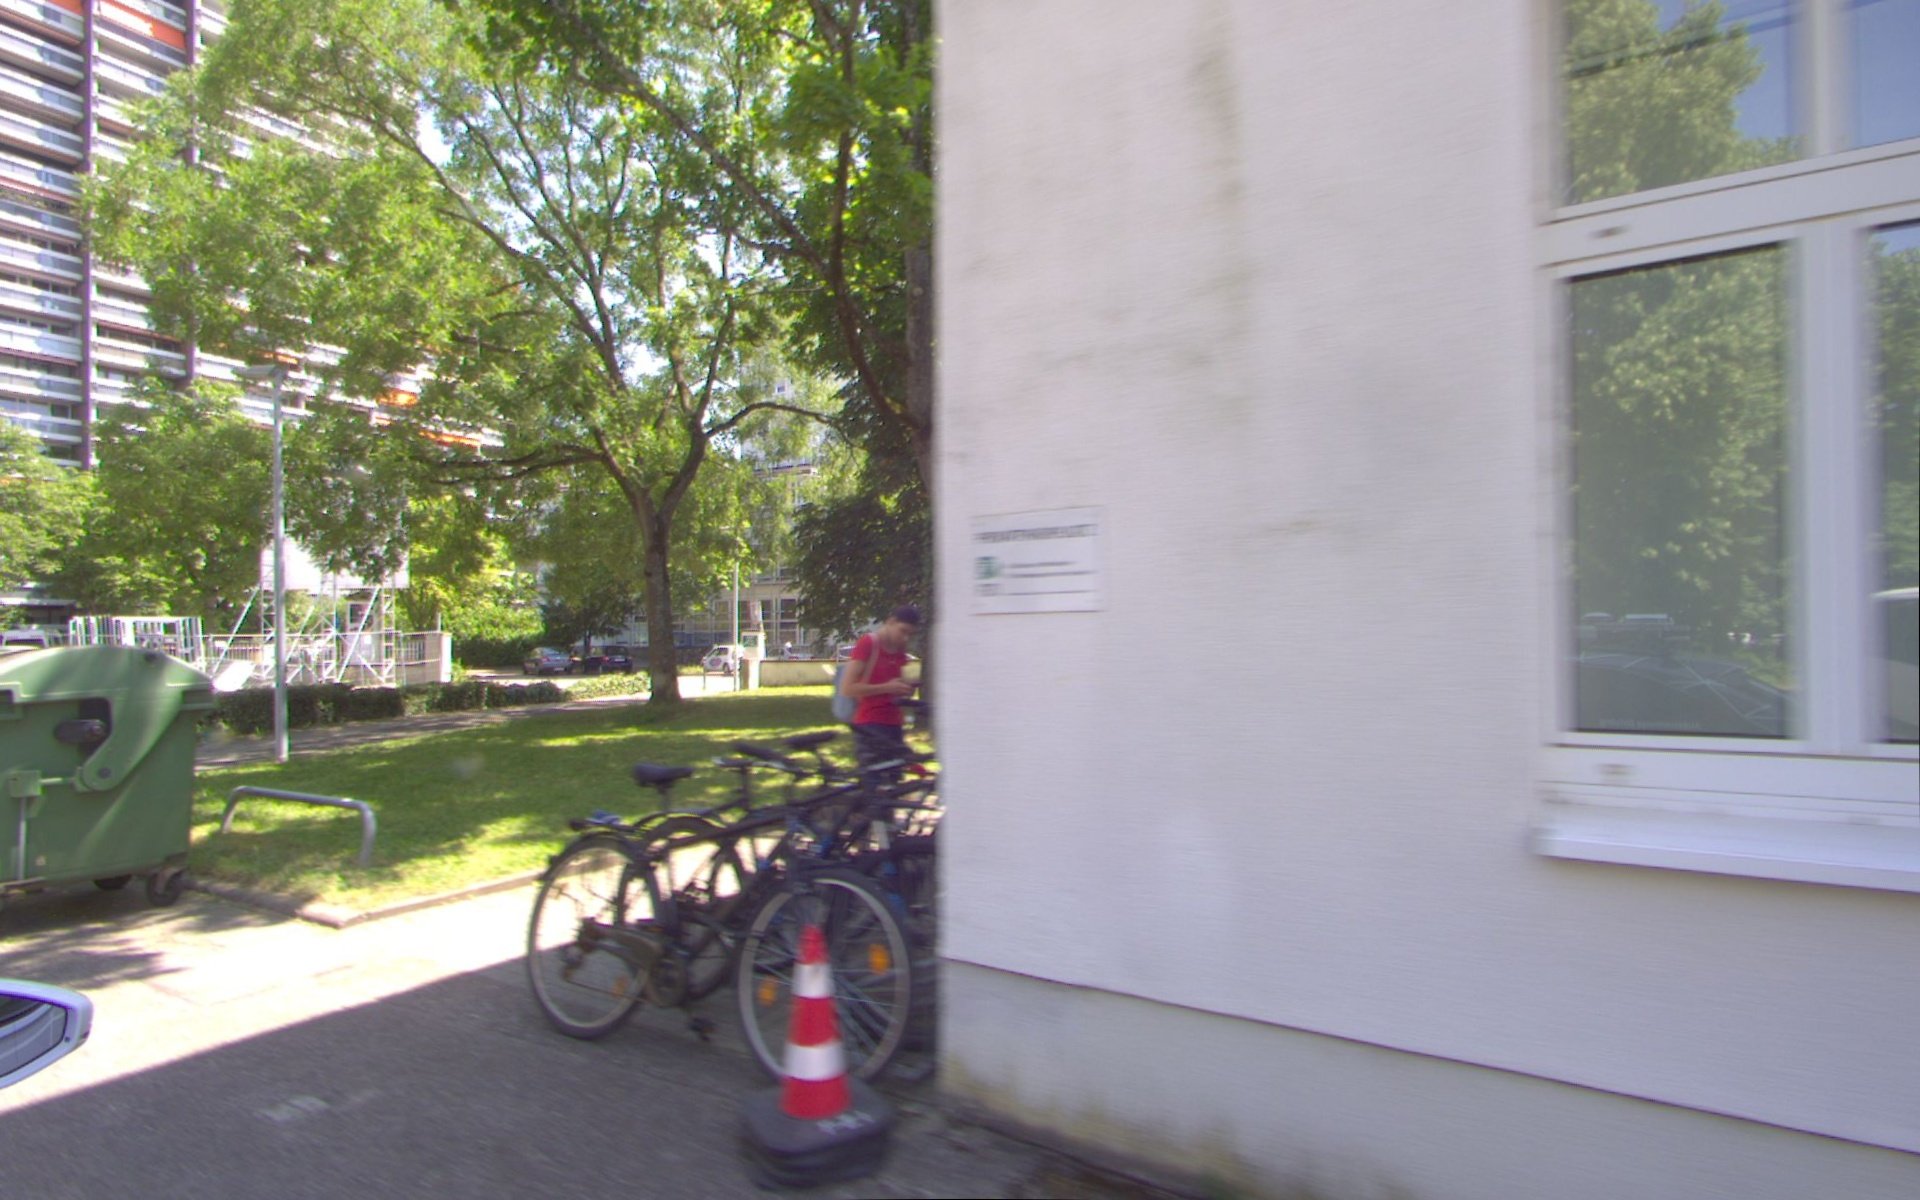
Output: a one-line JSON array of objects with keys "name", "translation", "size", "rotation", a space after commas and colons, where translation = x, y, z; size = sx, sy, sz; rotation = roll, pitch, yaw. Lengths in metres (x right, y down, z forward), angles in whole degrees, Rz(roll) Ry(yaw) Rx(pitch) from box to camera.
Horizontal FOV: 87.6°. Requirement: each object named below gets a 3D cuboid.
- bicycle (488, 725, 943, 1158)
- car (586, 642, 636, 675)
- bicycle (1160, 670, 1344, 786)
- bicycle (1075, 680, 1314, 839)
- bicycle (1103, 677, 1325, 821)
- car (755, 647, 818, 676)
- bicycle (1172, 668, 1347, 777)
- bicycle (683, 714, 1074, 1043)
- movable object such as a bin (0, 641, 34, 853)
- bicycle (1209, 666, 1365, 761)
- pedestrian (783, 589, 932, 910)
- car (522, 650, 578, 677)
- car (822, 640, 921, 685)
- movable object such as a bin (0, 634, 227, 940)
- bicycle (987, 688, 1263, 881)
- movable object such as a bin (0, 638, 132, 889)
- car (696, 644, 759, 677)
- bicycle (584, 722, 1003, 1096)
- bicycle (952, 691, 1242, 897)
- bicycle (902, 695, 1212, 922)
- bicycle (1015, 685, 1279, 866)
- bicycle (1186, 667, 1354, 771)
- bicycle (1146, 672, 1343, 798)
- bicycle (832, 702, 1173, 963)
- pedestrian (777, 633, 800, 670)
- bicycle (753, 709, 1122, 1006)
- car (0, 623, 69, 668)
[{"name": "bicycle", "translation": [-0.921, 1.037, 3.471], "size": [1.801, 1.115, 0.404], "rotation": [-2, -2, 33]}, {"name": "car", "translation": [-18.383, 3.057, 52.640], "size": [1.987, 1.650, 3.915], "rotation": [0, -2, -27]}, {"name": "bicycle", "translation": [3.025, 1.298, 10.473], "size": [1.801, 1.115, 0.404], "rotation": [-2, -2, 33]}, {"name": "bicycle", "translation": [1.812, 1.208, 7.907], "size": [1.801, 1.115, 0.404], "rotation": [-2, -2, 33]}, {"name": "bicycle", "translation": [2.147, 1.232, 8.610], "size": [1.801, 1.115, 0.404], "rotation": [-2, -2, 33]}, {"name": "car", "translation": [-9.001, 3.170, 51.806], "size": [1.650, 1.433, 3.683], "rotation": [1, -3, -38]}, {"name": "bicycle", "translation": [3.283, 1.320, 11.072], "size": [1.801, 1.115, 0.404], "rotation": [-2, -2, 33]}, {"name": "bicycle", "translation": [-0.417, 1.089, 4.314], "size": [1.801, 1.115, 0.404], "rotation": [-2, -2, 33]}, {"name": "movable object such as a bin", "translation": [-7.452, 1.036, 7.052], "size": [1.358, 1.476, 1.073], "rotation": [-2, -2, 33]}, {"name": "bicycle", "translation": [4.075, 1.395, 12.566], "size": [1.801, 1.115, 0.404], "rotation": [-2, -2, 33]}, {"name": "pedestrian", "translation": [-0.609, 0.844, 5.971], "size": [0.680, 1.771, 0.549], "rotation": [-2, -2, 34]}, {"name": "car", "translation": [-21.517, 3.321, 52.454], "size": [1.897, 1.327, 3.904], "rotation": [1, -3, -36]}, {"name": "car", "translation": [-3.104, 2.198, 35.462], "size": [3.267, 1.498, 1.434], "rotation": [-1, -2, 4]}, {"name": "movable object such as a bin", "translation": [-4.991, 0.939, 5.570], "size": [1.358, 1.476, 1.073], "rotation": [-2, -2, 33]}, {"name": "bicycle", "translation": [1.056, 1.167, 6.690], "size": [1.801, 1.115, 0.404], "rotation": [-2, -2, 33]}, {"name": "movable object such as a bin", "translation": [-6.175, 0.989, 6.358], "size": [1.358, 1.476, 1.073], "rotation": [-2, -2, 33]}, {"name": "car", "translation": [-12.155, 3.148, 52.316], "size": [1.652, 1.609, 3.660], "rotation": [1, -3, -42]}, {"name": "bicycle", "translation": [-0.717, 1.075, 3.895], "size": [1.801, 1.115, 0.404], "rotation": [-2, -2, 33]}, {"name": "bicycle", "translation": [0.816, 1.155, 6.322], "size": [1.801, 1.115, 0.404], "rotation": [-2, -2, 33]}, {"name": "bicycle", "translation": [0.514, 1.139, 5.837], "size": [1.801, 1.115, 0.404], "rotation": [-2, -2, 33]}, {"name": "bicycle", "translation": [1.278, 1.181, 7.082], "size": [1.801, 1.115, 0.404], "rotation": [-2, -2, 33]}, {"name": "bicycle", "translation": [3.545, 1.335, 11.539], "size": [1.801, 1.115, 0.404], "rotation": [-2, -2, 33]}, {"name": "bicycle", "translation": [2.738, 1.272, 9.753], "size": [1.801, 1.115, 0.404], "rotation": [-2, -2, 33]}, {"name": "bicycle", "translation": [0.162, 1.117, 5.185], "size": [1.801, 1.115, 0.404], "rotation": [-2, -2, 33]}, {"name": "pedestrian", "translation": [-9.543, 2.885, 55.806], "size": [0.983, 2.039, 0.872], "rotation": [0, -2, -34]}, {"name": "bicycle", "translation": [-0.166, 1.100, 4.672], "size": [1.801, 1.115, 0.404], "rotation": [-2, -2, 33]}, {"name": "car", "translation": [-50.120, 2.468, 54.327], "size": [2.164, 2.286, 4.837], "rotation": [1, -3, -36]}]
